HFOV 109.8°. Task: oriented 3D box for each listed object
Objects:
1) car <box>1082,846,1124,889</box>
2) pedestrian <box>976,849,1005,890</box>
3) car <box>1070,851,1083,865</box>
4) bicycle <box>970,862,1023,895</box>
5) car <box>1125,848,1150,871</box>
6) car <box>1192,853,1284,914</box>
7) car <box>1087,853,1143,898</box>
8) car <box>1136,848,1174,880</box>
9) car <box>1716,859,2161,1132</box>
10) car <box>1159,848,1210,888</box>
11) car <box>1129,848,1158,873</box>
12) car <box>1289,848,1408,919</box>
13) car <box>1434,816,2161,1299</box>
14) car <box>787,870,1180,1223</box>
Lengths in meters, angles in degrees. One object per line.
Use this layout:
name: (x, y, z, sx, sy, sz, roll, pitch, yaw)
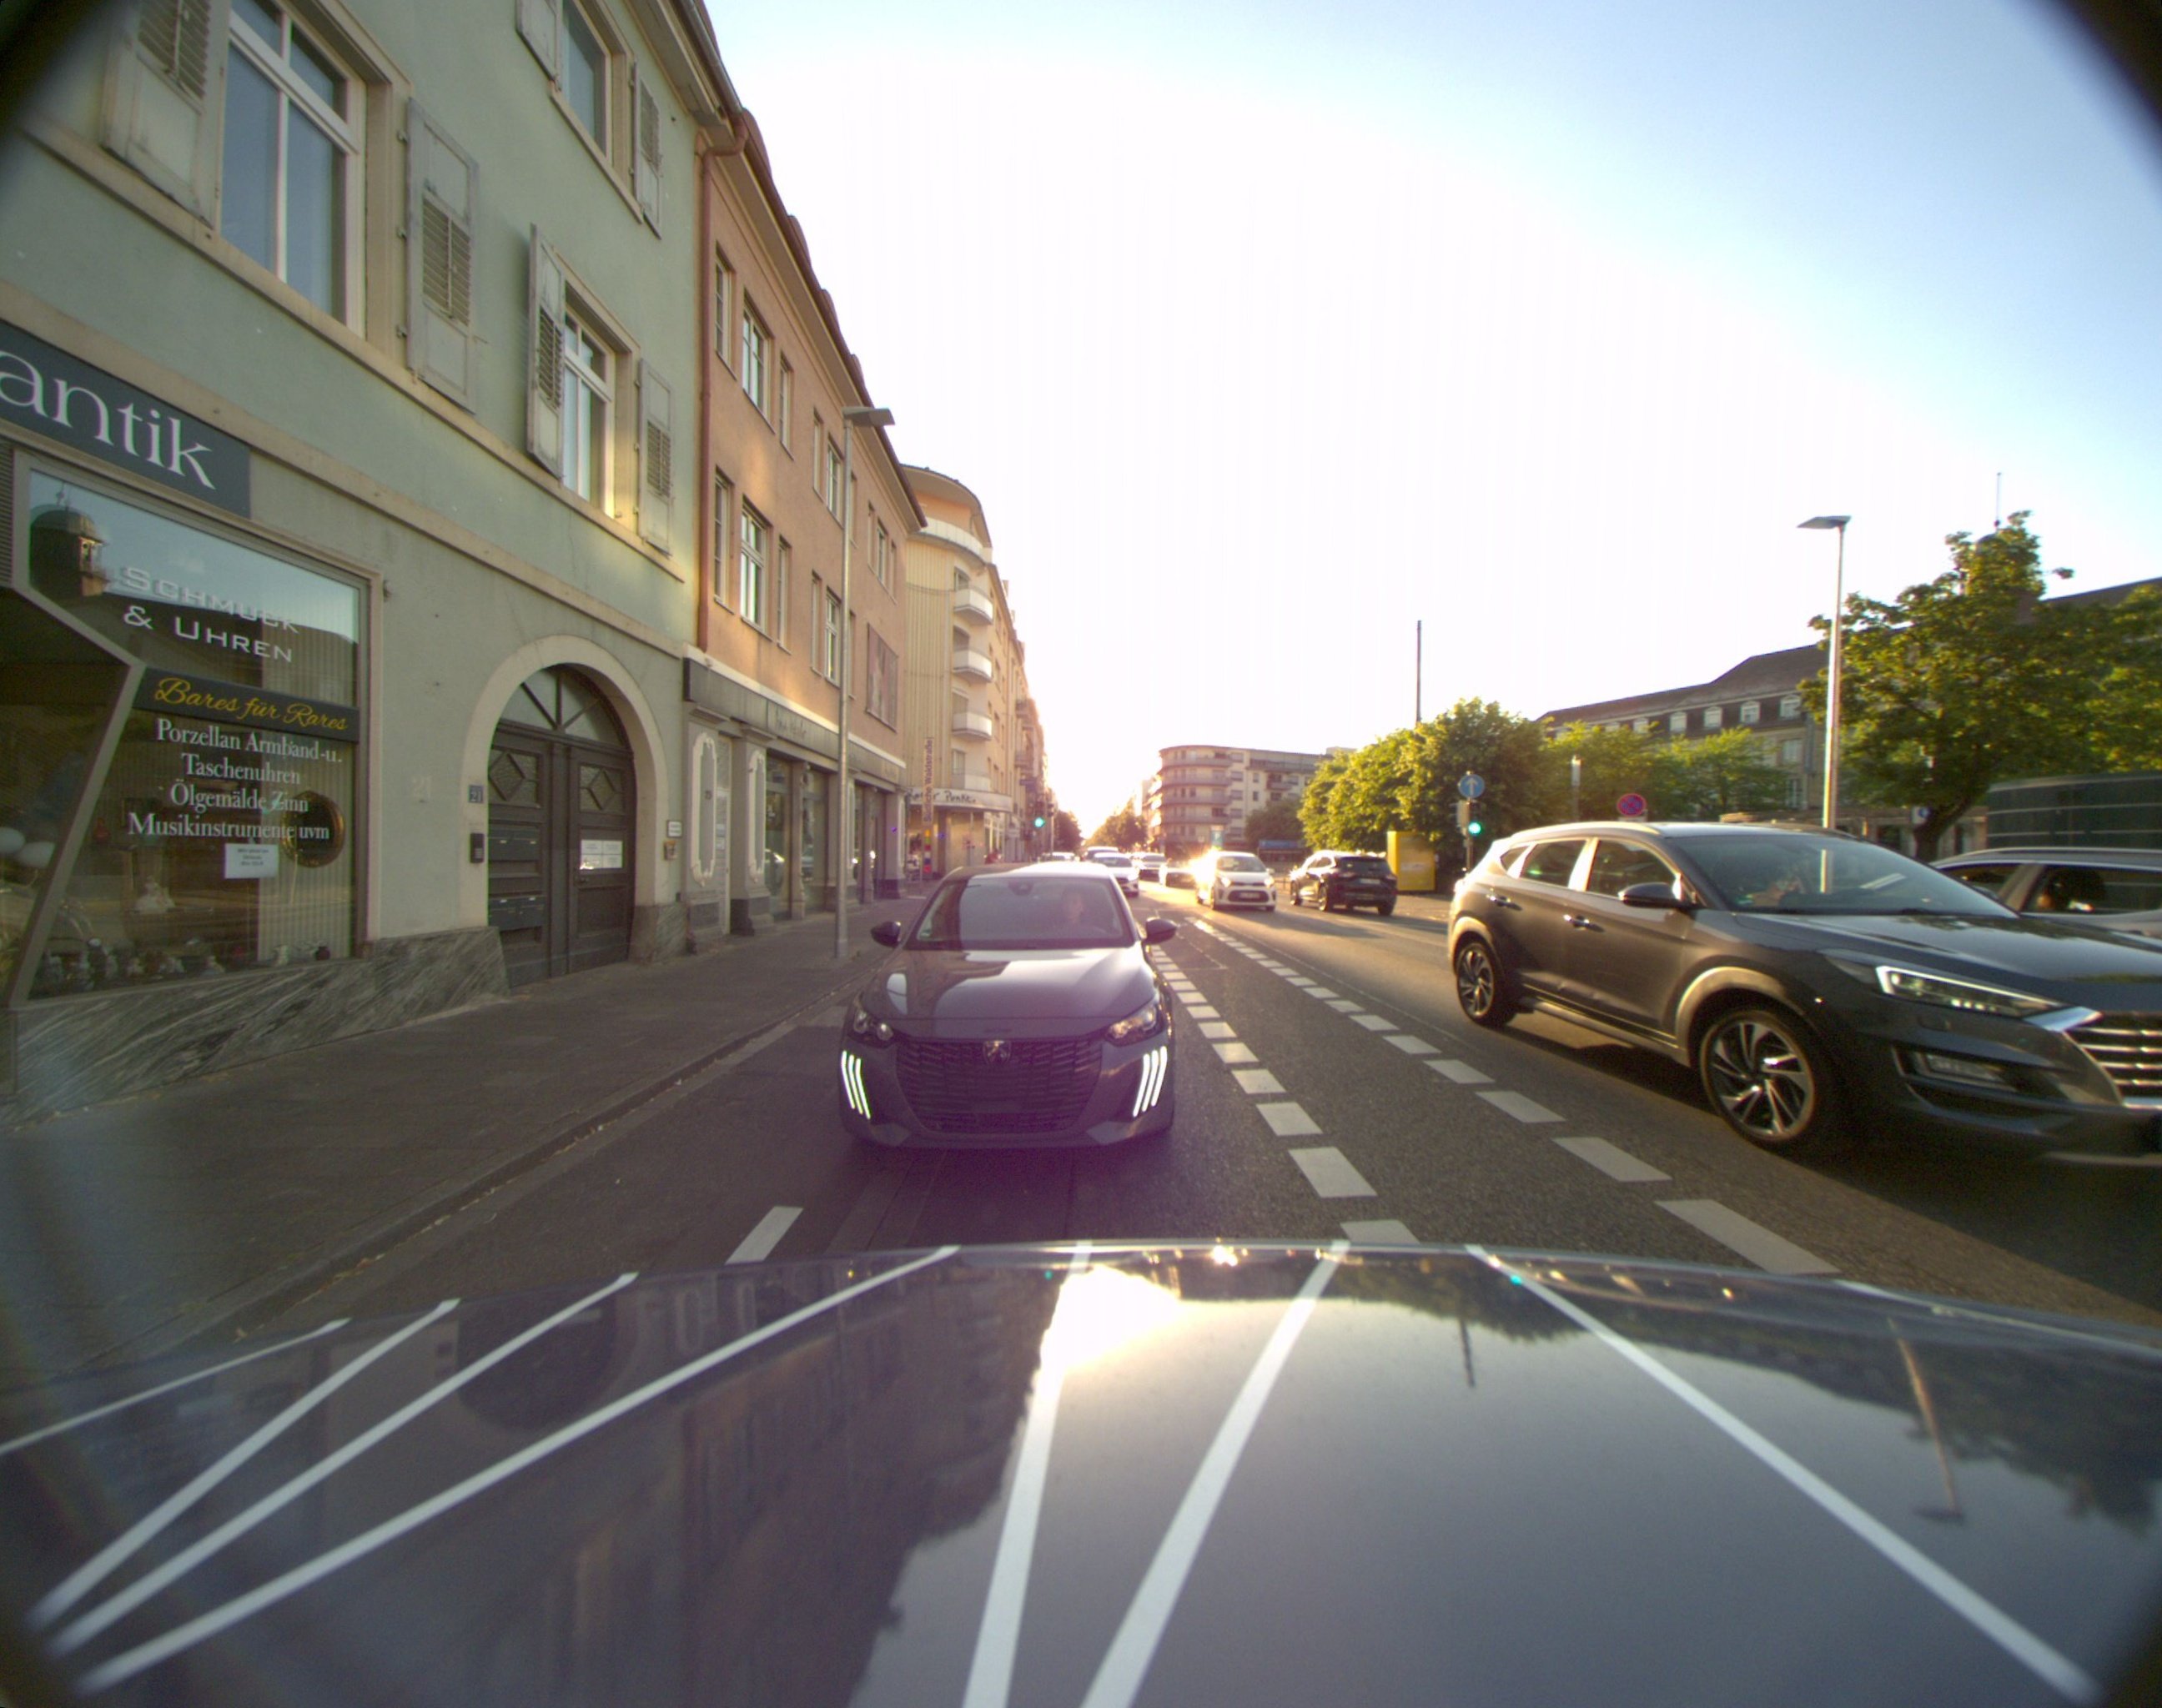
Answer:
car: (1.022, 0.596, 36.715, 1.827, 1.918, 3.985, 2, 0, 0)
pedestrian: (-3.078, 0.524, 25.865, 0.858, 1.343, 0.563, 1, 1, 11)
car: (-0.702, 0.608, 116.377, 1.998, 2.002, 4.000, 1, 0, 0)
bicycle: (-2.874, 0.831, 25.818, 1.702, 1.051, 0.563, 1, 1, 11)
car: (4.590, 0.440, 61.959, 1.880, 1.761, 4.000, 1, 0, 2)
car: (4.186, 0.738, 20.833, 1.718, 1.463, 3.985, 1, 0, 0)
car: (1.148, 0.696, 26.917, 1.827, 1.463, 3.985, 0, 0, 0)
car: (4.416, 0.571, 45.906, 1.827, 1.731, 3.985, 2, 0, 0)
car: (7.409, 0.926, 5.672, 1.827, 1.572, 3.999, 4, 1, -1)
car: (4.881, 0.619, 36.321, 1.827, 1.731, 3.985, 2, 0, 0)
car: (4.523, 0.466, 55.695, 1.880, 1.761, 4.000, 1, 0, 2)
car: (7.279, 0.742, 21.145, 1.827, 1.688, 3.984, 3, 0, 0)
car: (4.136, 0.714, 4.785, 1.827, 1.688, 4.259, 1, 0, 0)
car: (-0.352, 0.905, 5.381, 1.750, 1.434, 3.906, 2, 0, 3)
